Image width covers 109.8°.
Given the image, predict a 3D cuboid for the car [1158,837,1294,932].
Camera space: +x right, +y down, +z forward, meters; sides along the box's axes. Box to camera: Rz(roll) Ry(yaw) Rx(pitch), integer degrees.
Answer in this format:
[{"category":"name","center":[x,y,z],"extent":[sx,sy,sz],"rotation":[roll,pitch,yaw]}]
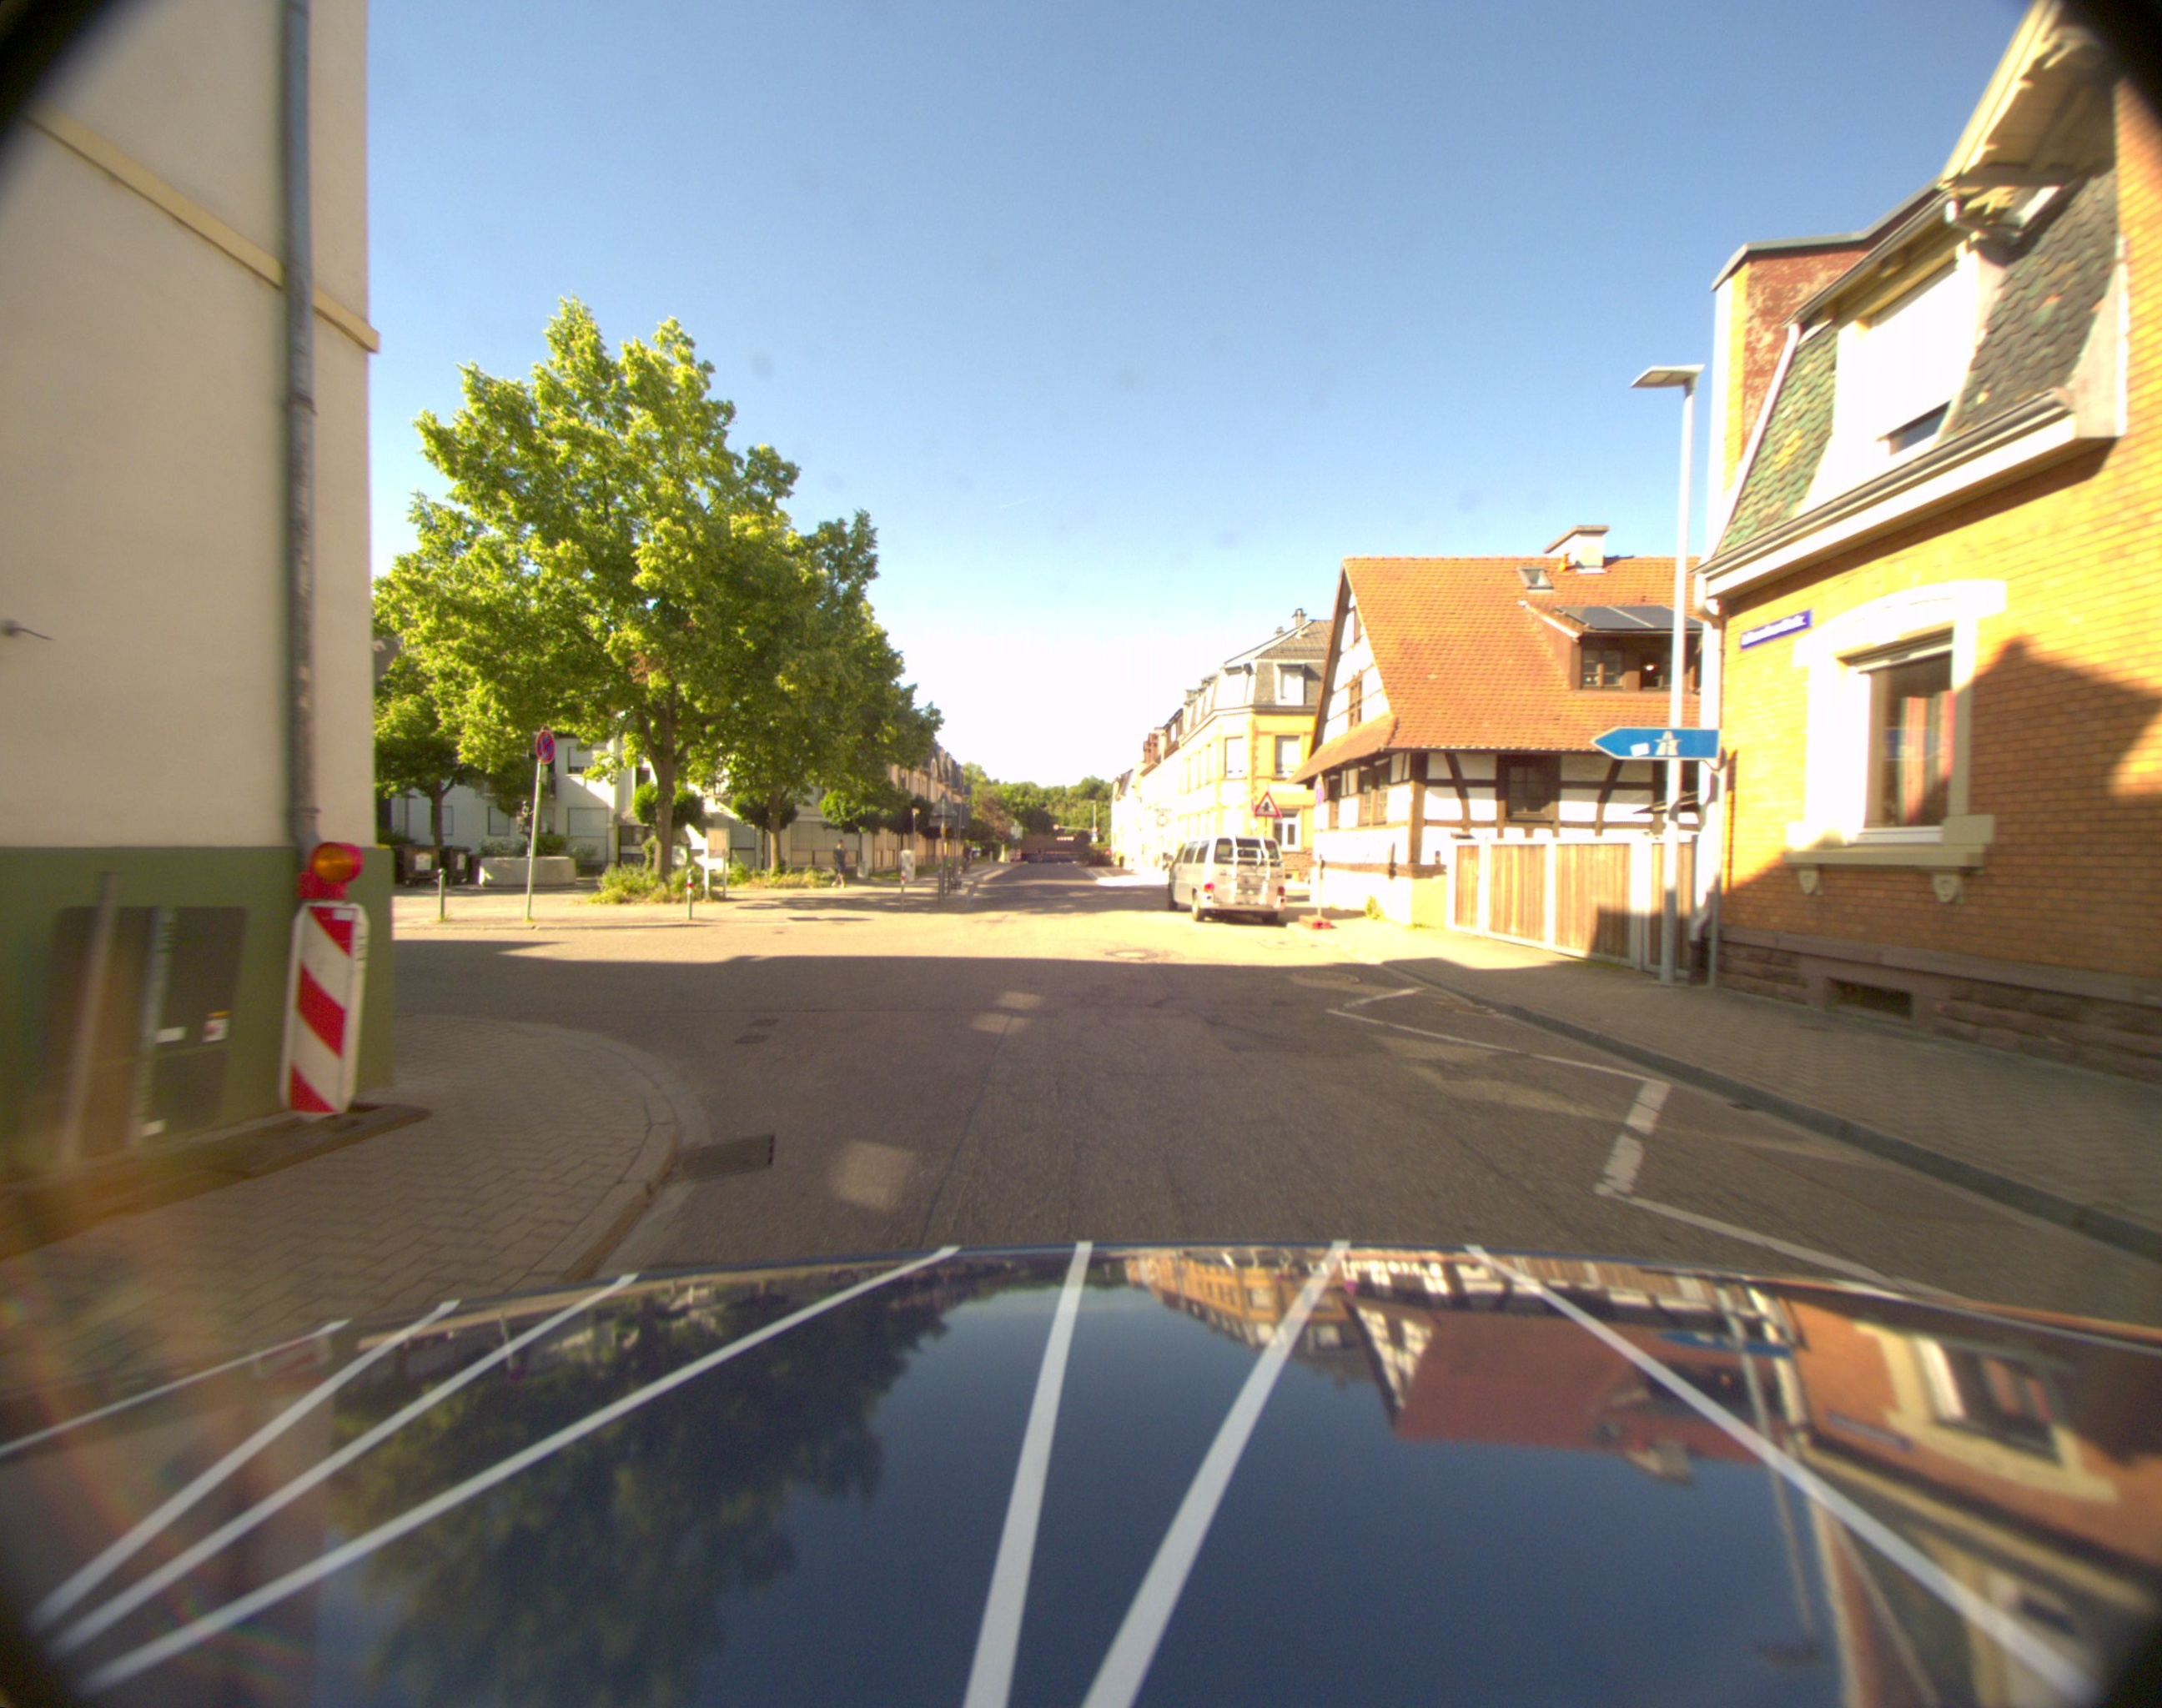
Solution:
[{"category":"car","center":[3.179,0.584,17.760],"extent":[1.881,1.870,4.832],"rotation":[2,1,-4]}]

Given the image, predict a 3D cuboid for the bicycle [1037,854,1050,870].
[{"category":"bicycle","center":[-4.029,0.851,81.705],"extent":[1.257,1.543,3.998],"rotation":[-2,1,-3]}]

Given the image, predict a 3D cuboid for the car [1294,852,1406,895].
[{"category":"car","center":[10.983,0.760,31.292],"extent":[4.011,1.536,1.716],"rotation":[1,4,6]}]

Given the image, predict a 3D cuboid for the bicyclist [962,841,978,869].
[{"category":"bicyclist","center":[-6.202,0.061,42.572],"extent":[0.668,1.530,0.914],"rotation":[4,2,1]}]

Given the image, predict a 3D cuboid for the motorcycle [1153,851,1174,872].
[{"category":"motorcycle","center":[5.400,0.471,49.875],"extent":[0.848,1.245,2.256],"rotation":[-2,1,-5]}]

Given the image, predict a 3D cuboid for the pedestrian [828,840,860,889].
[{"category":"pedestrian","center":[-8.449,0.345,27.085],"extent":[0.659,1.707,0.829],"rotation":[1,2,31]}]

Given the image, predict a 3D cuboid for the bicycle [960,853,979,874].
[{"category":"bicycle","center":[-6.239,0.525,42.524],"extent":[0.668,1.058,1.817],"rotation":[4,1,1]}]

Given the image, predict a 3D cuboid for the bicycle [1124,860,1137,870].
[{"category":"bicycle","center":[3.402,0.731,52.376],"extent":[0.382,0.606,1.344],"rotation":[-1,1,29]}]

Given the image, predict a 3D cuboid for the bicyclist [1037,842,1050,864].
[{"category":"bicyclist","center":[-4.061,-0.127,81.755],"extent":[1.257,2.295,1.242],"rotation":[-2,2,-5]}]
